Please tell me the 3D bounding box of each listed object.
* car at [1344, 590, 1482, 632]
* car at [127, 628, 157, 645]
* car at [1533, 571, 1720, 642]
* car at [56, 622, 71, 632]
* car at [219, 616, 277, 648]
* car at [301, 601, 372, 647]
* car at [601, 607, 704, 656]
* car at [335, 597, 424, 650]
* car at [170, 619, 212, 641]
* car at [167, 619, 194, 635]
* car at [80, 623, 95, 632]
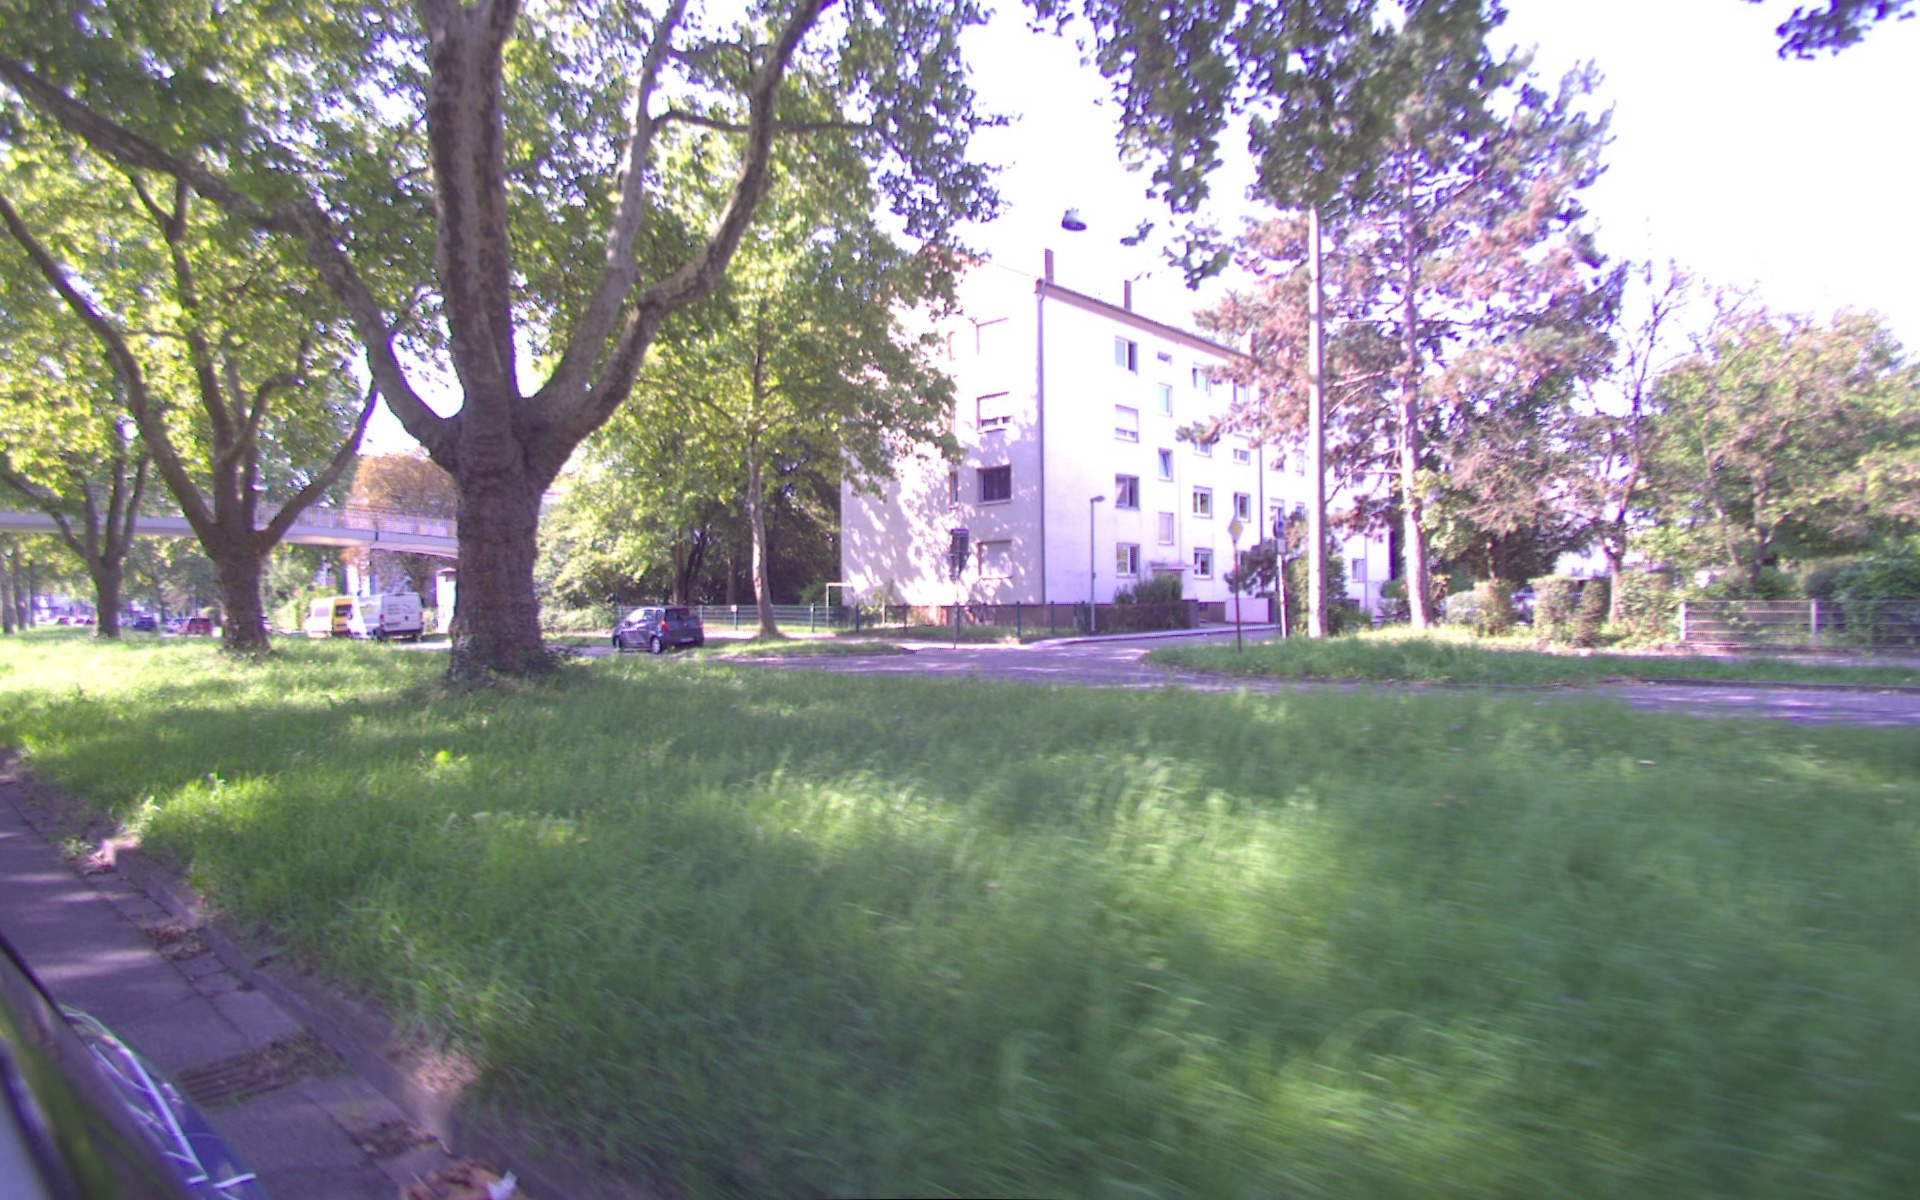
[{"bbox_3d":[17.183,0.415,38.555,1.823,1.482,4.453,-1,0,-44],"label":"car"},{"bbox_3d":[-79.539,3.513,98.416,4.458,1.544,1.767,-1,0,45],"label":"car"},{"bbox_3d":[19.455,0.172,29.661,1.823,1.915,4.268,-1,0,-44],"label":"car"},{"bbox_3d":[-151.981,4.593,171.537,1.754,1.629,4.860,-1,0,-44],"label":"car"},{"bbox_3d":[-41.607,1.857,59.134,4.718,1.733,1.783,-2,-1,42],"label":"car"},{"bbox_3d":[-35.687,1.322,57.851,2.182,2.498,6.065,-1,0,-44],"label":"car"},{"bbox_3d":[-10.371,1.028,34.046,3.862,1.544,1.506,0,0,41],"label":"car"},{"bbox_3d":[-29.984,1.164,52.195,6.266,2.448,2.184,-1,2,43],"label":"car"},{"bbox_3d":[-56.277,2.204,74.016,4.067,1.544,1.673,-1,-1,41],"label":"car"},{"bbox_3d":[-77.837,2.657,101.048,1.626,1.490,3.901,-1,0,-44],"label":"car"},{"bbox_3d":[-146.083,4.653,169.476,3.900,1.375,1.626,-2,0,45],"label":"car"}]
